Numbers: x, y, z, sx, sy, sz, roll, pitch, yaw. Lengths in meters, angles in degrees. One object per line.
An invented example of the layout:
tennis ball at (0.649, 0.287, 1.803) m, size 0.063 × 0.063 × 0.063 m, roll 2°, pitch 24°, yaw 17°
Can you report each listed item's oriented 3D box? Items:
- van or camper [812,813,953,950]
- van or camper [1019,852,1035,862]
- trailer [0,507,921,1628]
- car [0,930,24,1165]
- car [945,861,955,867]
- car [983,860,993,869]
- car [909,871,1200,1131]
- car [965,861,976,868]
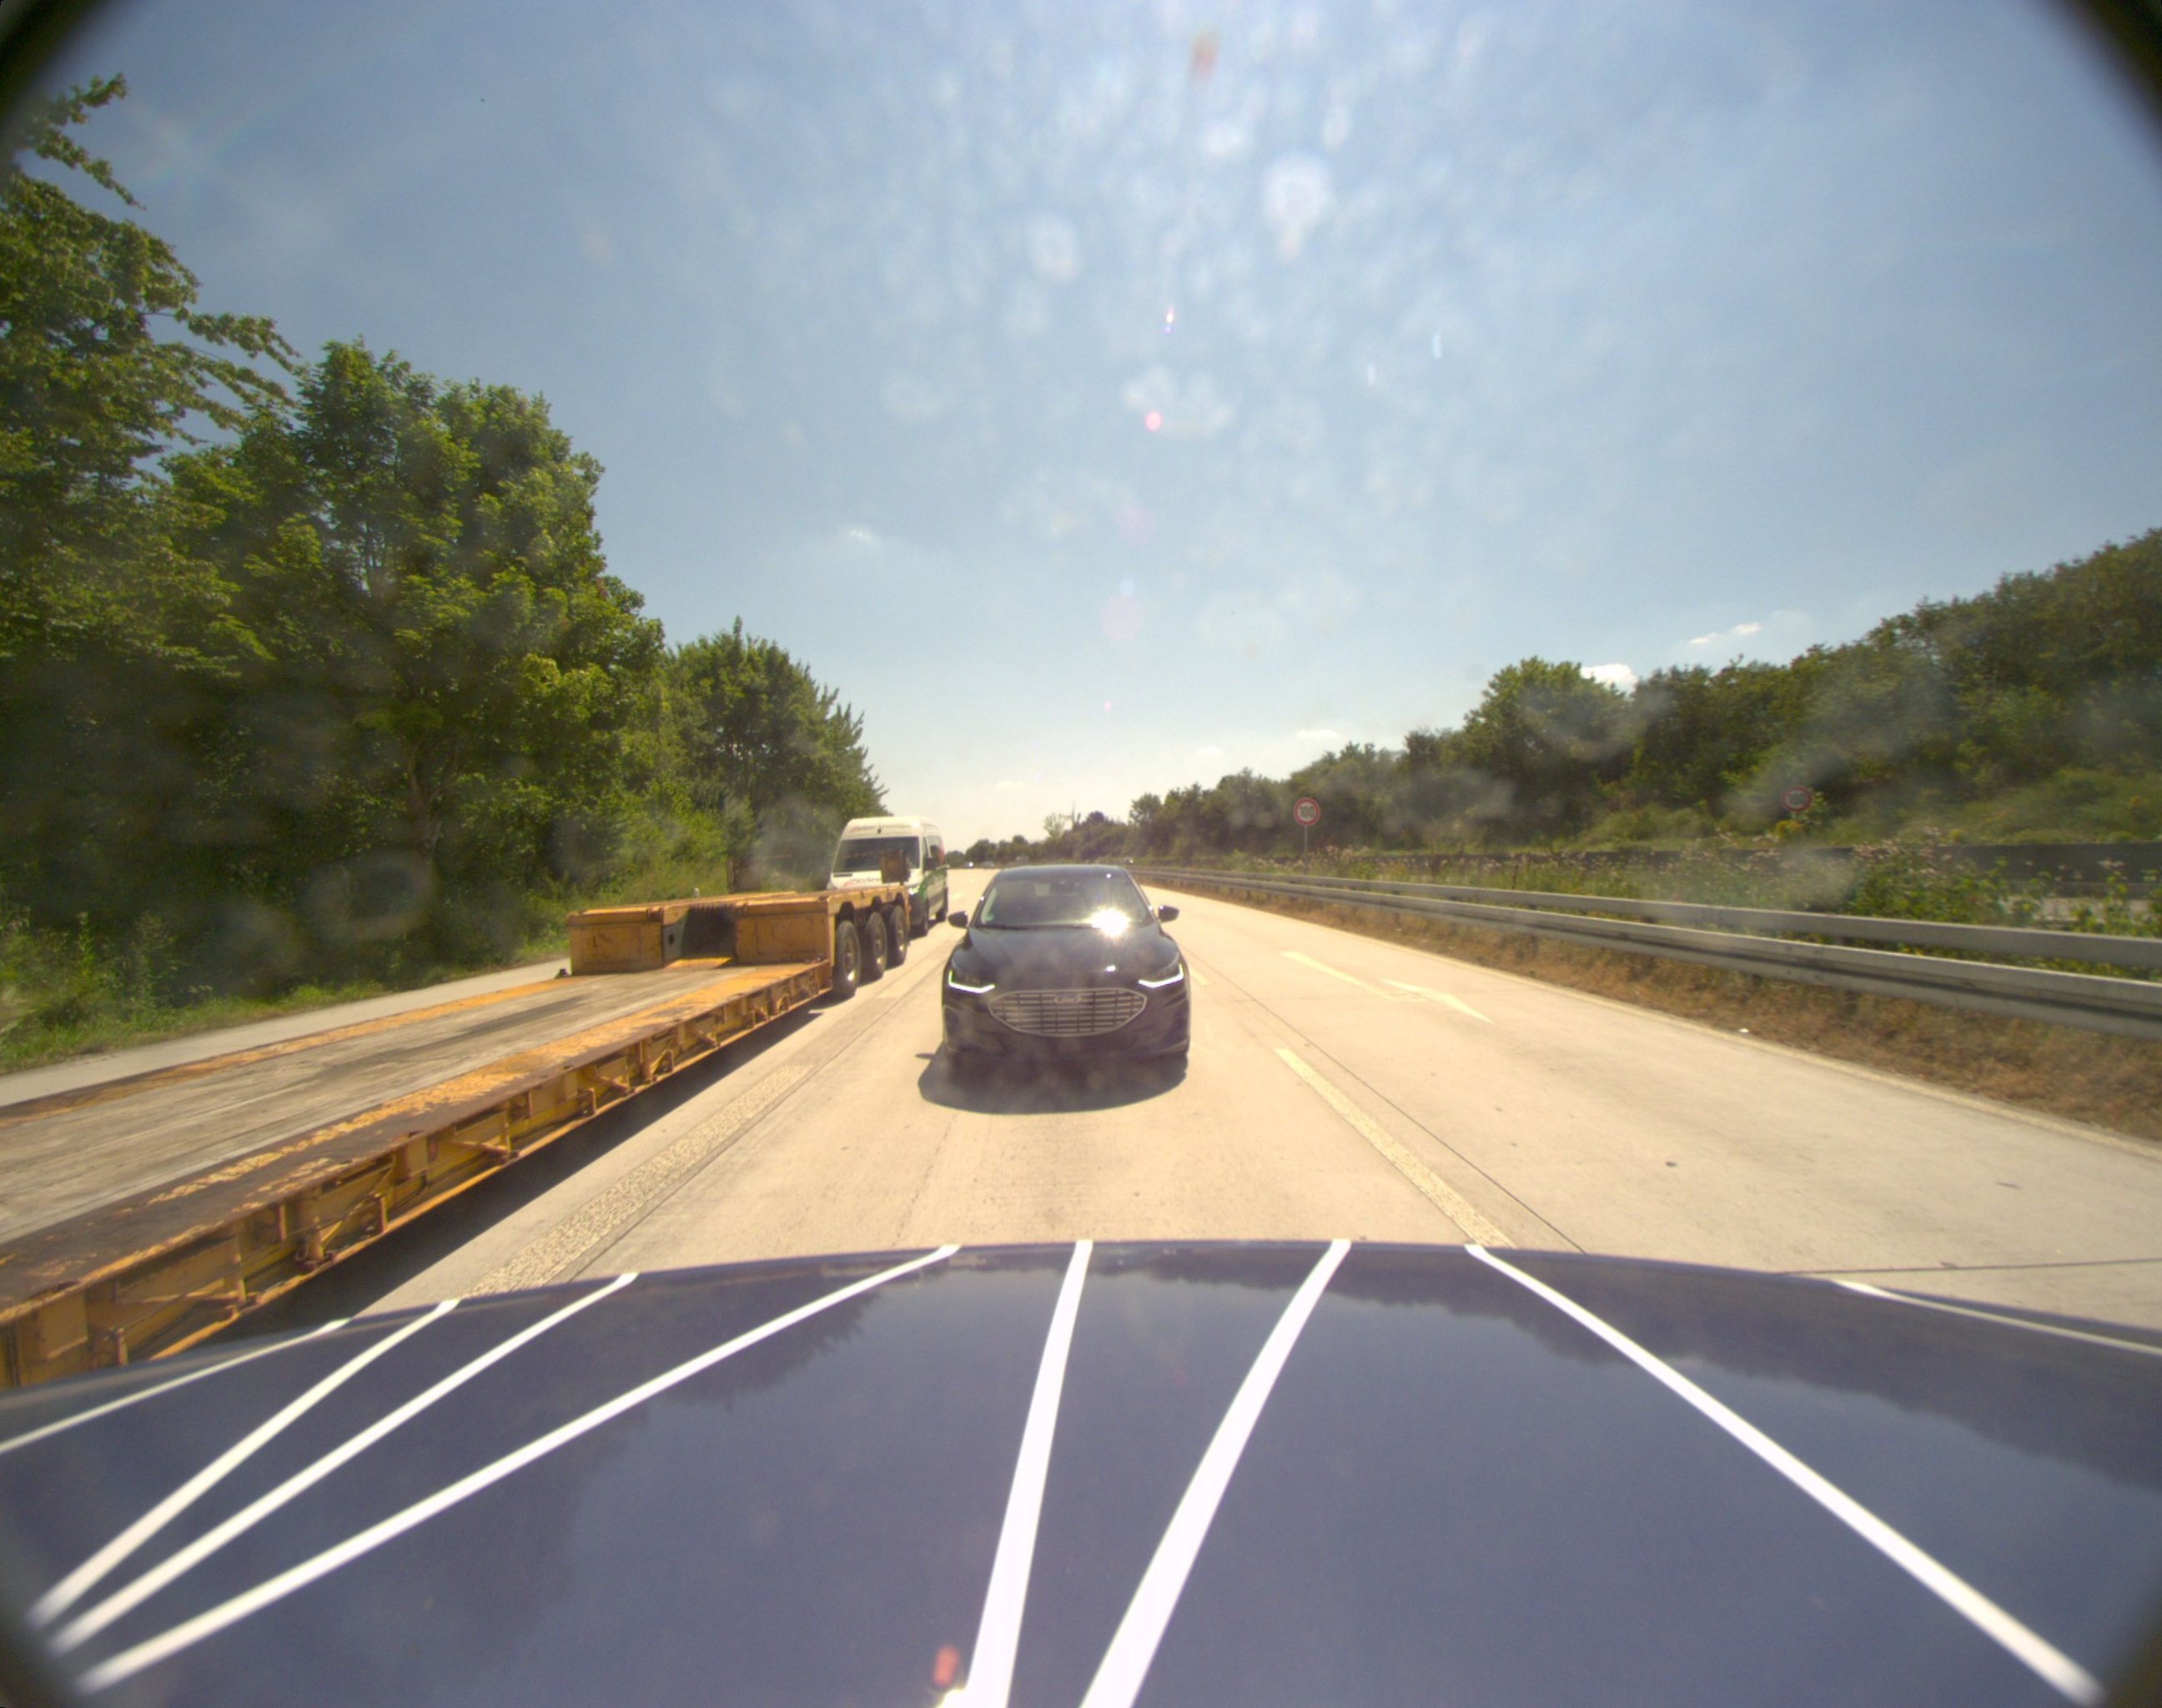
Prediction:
van or camper at (-4.302, 0.503, 17.566) m, size 2.069 × 2.559 × 5.905 m, roll -2°, pitch 1°, yaw -5°
van or camper at (-10.954, 0.601, 152.705) m, size 2.180 × 2.002 × 5.631 m, roll -2°, pitch 1°, yaw -14°
trailer at (-4.033, 0.524, 3.815) m, size 3.035 × 2.578 × 16.355 m, roll -2°, pitch 0°, yaw 0°
car at (-7.577, 1.255, 2.491) m, size 1.772 × 1.453 × 4.597 m, roll -2°, pitch 0°, yaw -1°
car at (-33.973, 2.511, 197.136) m, size 1.893 × 1.456 × 3.993 m, roll -2°, pitch 1°, yaw -20°
car at (-17.383, 2.000, 142.137) m, size 1.628 × 1.476 × 3.996 m, roll -2°, pitch 1°, yaw -11°
car at (-0.133, 0.954, 6.814) m, size 1.731 × 1.430 × 4.304 m, roll -2°, pitch 0°, yaw 1°
car at (-25.874, 2.380, 177.613) m, size 1.709 × 1.456 × 3.992 m, roll -3°, pitch 1°, yaw -23°
